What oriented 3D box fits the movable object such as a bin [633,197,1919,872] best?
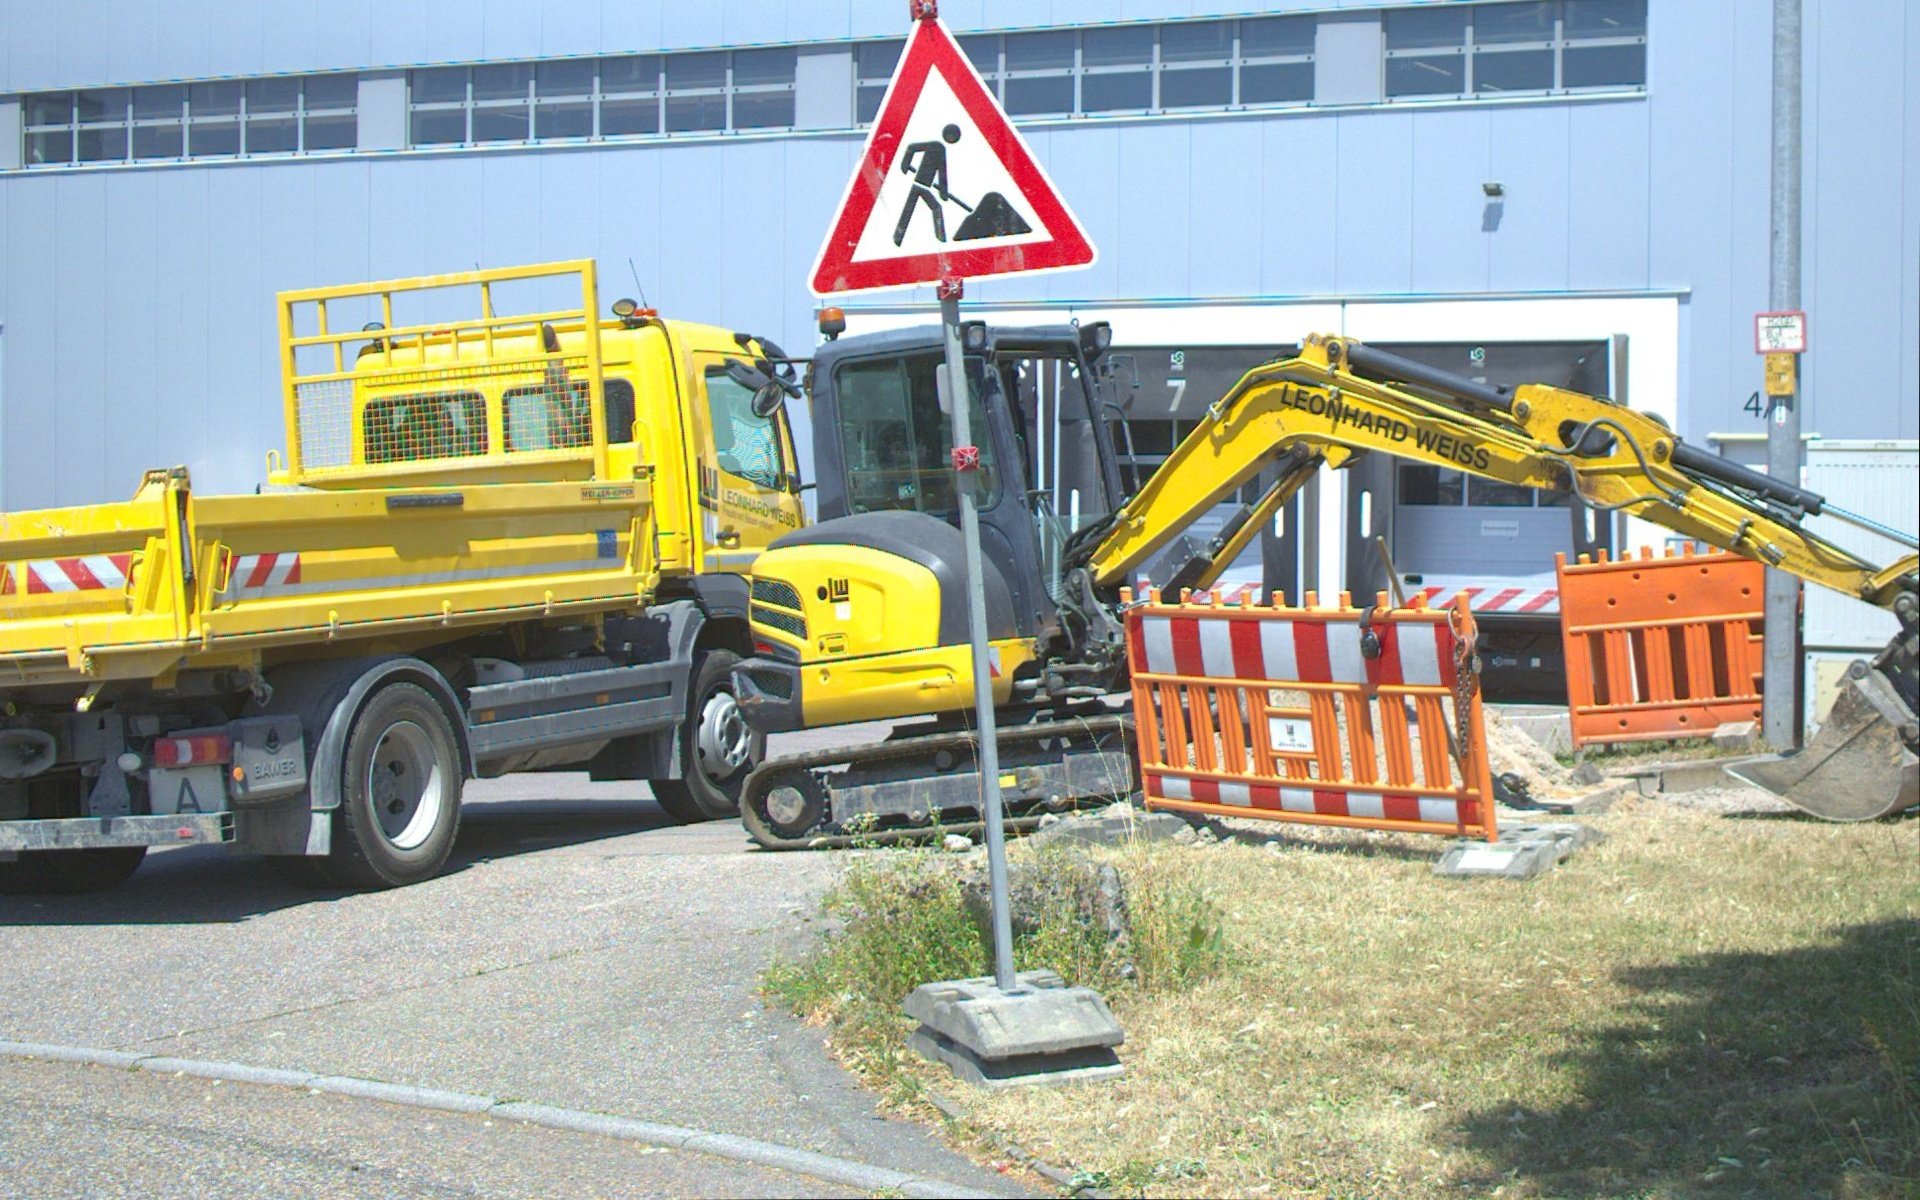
[{"bbox_3d":[1.751,-0.204,15.538,6.568,2.572,1.996,-1,0,33],"label":"movable object such as a bin"}]

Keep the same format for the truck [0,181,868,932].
[{"bbox_3d":[-3.093,-0.321,17.753,2.590,3.125,6.417,-2,2,24],"label":"truck"}]
